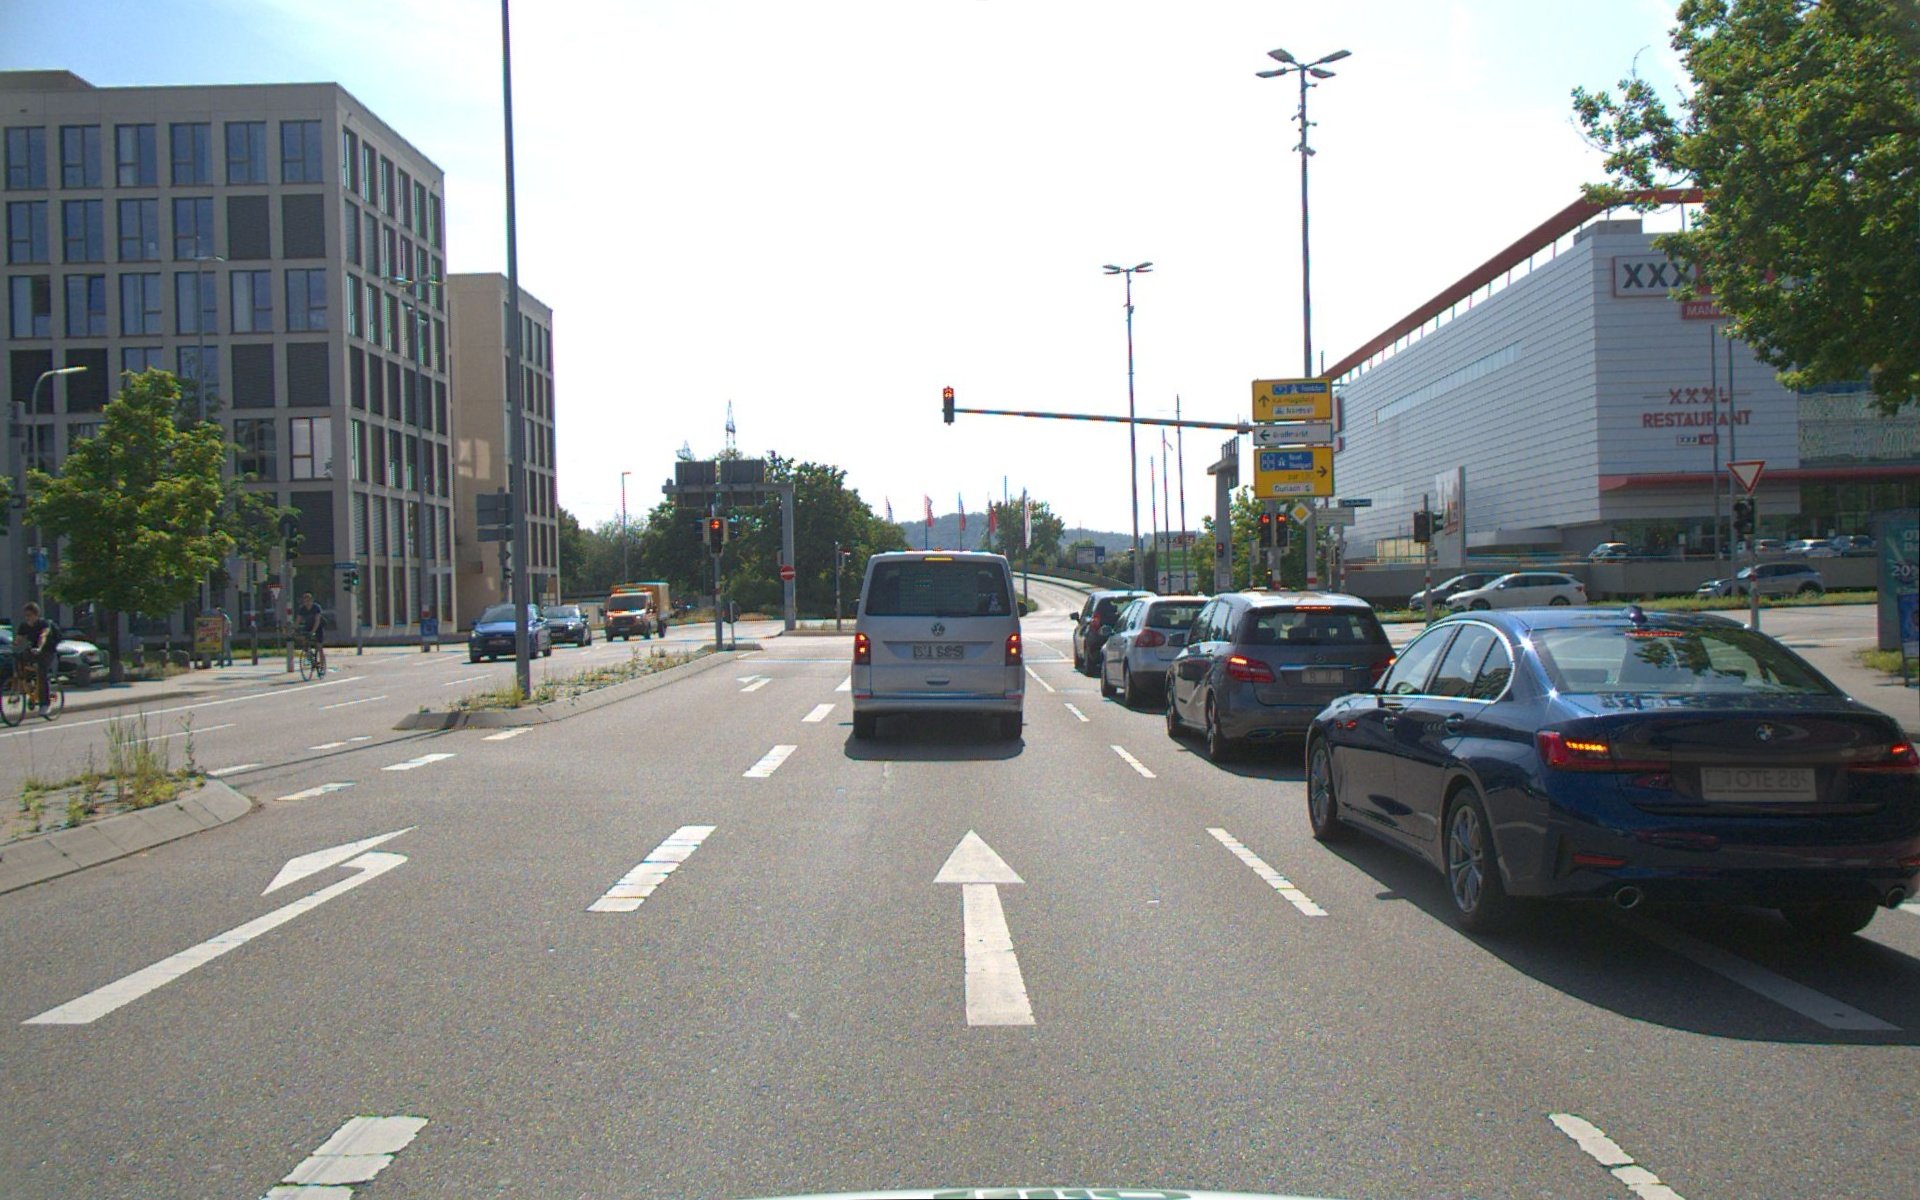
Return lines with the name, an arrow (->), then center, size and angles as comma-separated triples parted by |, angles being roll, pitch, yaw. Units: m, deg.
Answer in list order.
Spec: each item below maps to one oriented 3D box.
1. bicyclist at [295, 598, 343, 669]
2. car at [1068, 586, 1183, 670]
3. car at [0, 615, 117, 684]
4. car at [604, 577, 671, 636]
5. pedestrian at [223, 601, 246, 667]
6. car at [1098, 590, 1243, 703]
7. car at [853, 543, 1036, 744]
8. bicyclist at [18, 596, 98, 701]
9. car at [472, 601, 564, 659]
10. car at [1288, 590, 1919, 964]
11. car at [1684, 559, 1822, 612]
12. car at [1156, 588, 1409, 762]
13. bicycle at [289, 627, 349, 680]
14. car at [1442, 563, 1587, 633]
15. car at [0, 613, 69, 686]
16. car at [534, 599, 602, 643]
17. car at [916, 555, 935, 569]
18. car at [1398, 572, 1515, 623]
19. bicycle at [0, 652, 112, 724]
bicyclist -> -14.109, 0.729, 36.427 | 0.617, 1.527, 1.028 | -2, 0, -1
car -> 3.186, 0.503, 32.529 | 1.799, 1.552, 3.999 | 0, 0, -1
car -> -22.088, 1.221, 38.955 | 3.521, 1.381, 1.640 | -5, 1, 0
car -> -15.248, 0.274, 78.506 | 2.358, 2.605, 6.888 | -2, 0, -5
pedestrian -> -22.670, 1.050, 51.690 | 0.548, 2.049, 0.575 | 0, 0, -9
car -> 2.944, 0.605, 23.787 | 1.546, 1.483, 3.784 | 0, 0, -1
car -> -0.187, 0.430, 18.728 | 1.846, 2.025, 3.999 | 0, 0, -1
bicyclist -> -13.872, 0.726, 25.457 | 0.606, 1.553, 1.036 | -2, 0, 0
car -> -12.024, 0.794, 45.209 | 1.648, 1.382, 3.839 | -2, 1, -3
car -> 3.084, 0.689, 8.823 | 1.711, 1.484, 4.475 | 0, 0, -1
car -> 27.855, -0.496, 58.148 | 4.046, 1.545, 1.481 | -4, 0, 4
car -> 3.126, 0.656, 16.798 | 1.711, 1.543, 4.077 | 0, 0, -1
bicycle -> -14.114, 1.172, 36.461 | 0.573, 1.069, 1.876 | -3, 0, -1
car -> 18.683, -0.055, 55.871 | 4.310, 2.029, 1.481 | -4, 0, 4
car -> -22.089, 1.207, 36.427 | 3.795, 1.490, 1.868 | -5, 1, 1
car -> -13.945, 0.715, 59.036 | 1.545, 1.434, 4.377 | -2, 0, -3
car -> -5.308, -5.760, 253.327 | 1.961, 2.049, 3.983 | 0, 0, -16
car -> 17.704, -0.094, 59.073 | 3.694, 1.545, 1.481 | -4, 0, 4
bicycle -> -13.863, 1.332, 25.367 | 0.666, 0.957, 1.973 | -2, 0, 0
